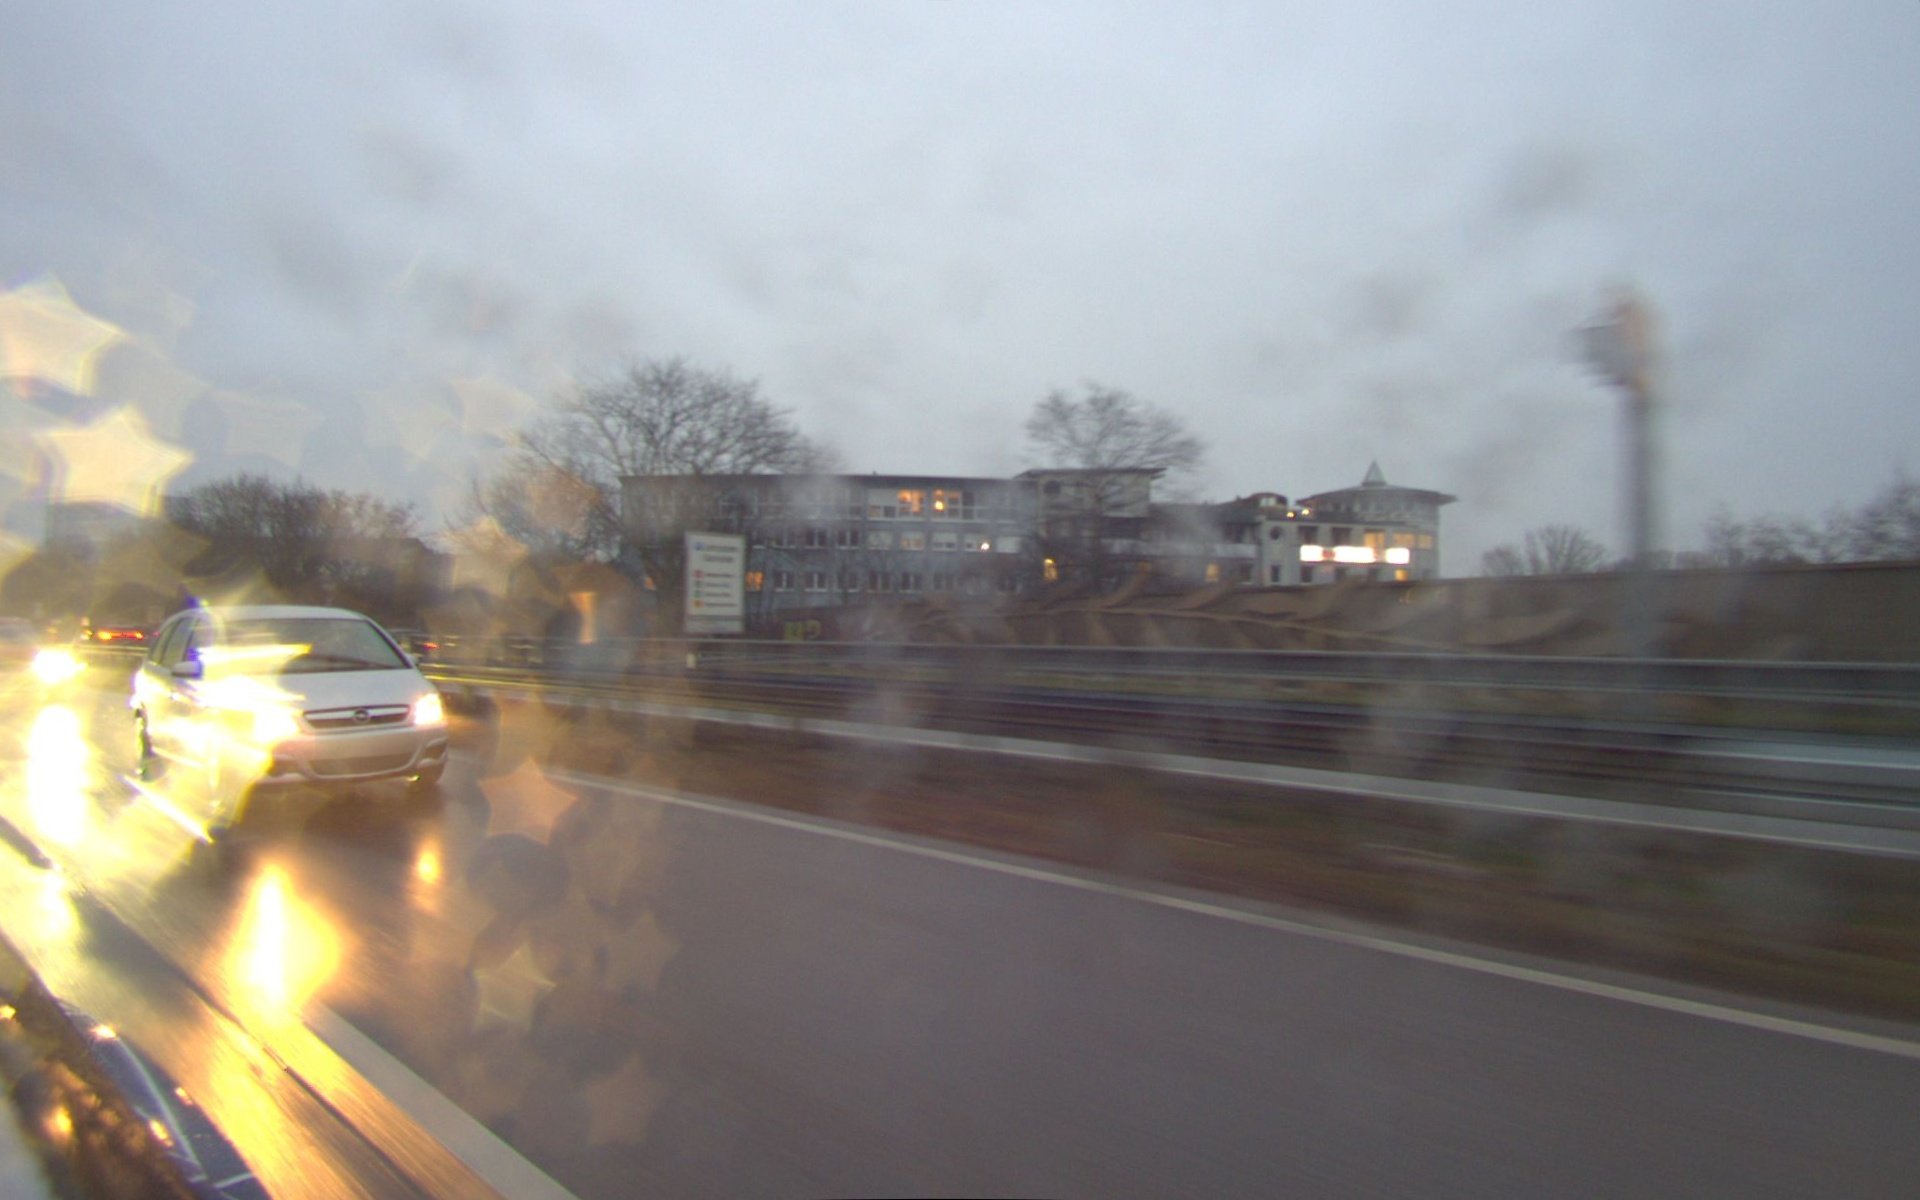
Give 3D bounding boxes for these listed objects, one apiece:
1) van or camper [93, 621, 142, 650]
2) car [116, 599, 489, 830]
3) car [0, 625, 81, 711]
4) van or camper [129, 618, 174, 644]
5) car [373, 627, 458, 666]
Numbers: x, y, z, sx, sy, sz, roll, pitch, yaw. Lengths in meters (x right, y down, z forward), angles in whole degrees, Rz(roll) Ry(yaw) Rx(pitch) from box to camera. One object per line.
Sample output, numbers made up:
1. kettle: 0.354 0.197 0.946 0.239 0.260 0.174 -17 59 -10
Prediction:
1. van or camper: -46.778 1.951 56.160 4.433 1.493 1.510 -1 -1 43
2. car: -6.058 0.844 9.130 4.163 1.611 1.743 -1 -2 41
3. car: -19.062 1.278 19.900 4.141 1.542 2.001 -1 -2 39
4. van or camper: -55.988 2.123 70.032 4.883 1.749 1.742 -1 -1 43
5. car: -20.851 1.754 38.687 3.638 1.420 1.737 -2 -2 42
